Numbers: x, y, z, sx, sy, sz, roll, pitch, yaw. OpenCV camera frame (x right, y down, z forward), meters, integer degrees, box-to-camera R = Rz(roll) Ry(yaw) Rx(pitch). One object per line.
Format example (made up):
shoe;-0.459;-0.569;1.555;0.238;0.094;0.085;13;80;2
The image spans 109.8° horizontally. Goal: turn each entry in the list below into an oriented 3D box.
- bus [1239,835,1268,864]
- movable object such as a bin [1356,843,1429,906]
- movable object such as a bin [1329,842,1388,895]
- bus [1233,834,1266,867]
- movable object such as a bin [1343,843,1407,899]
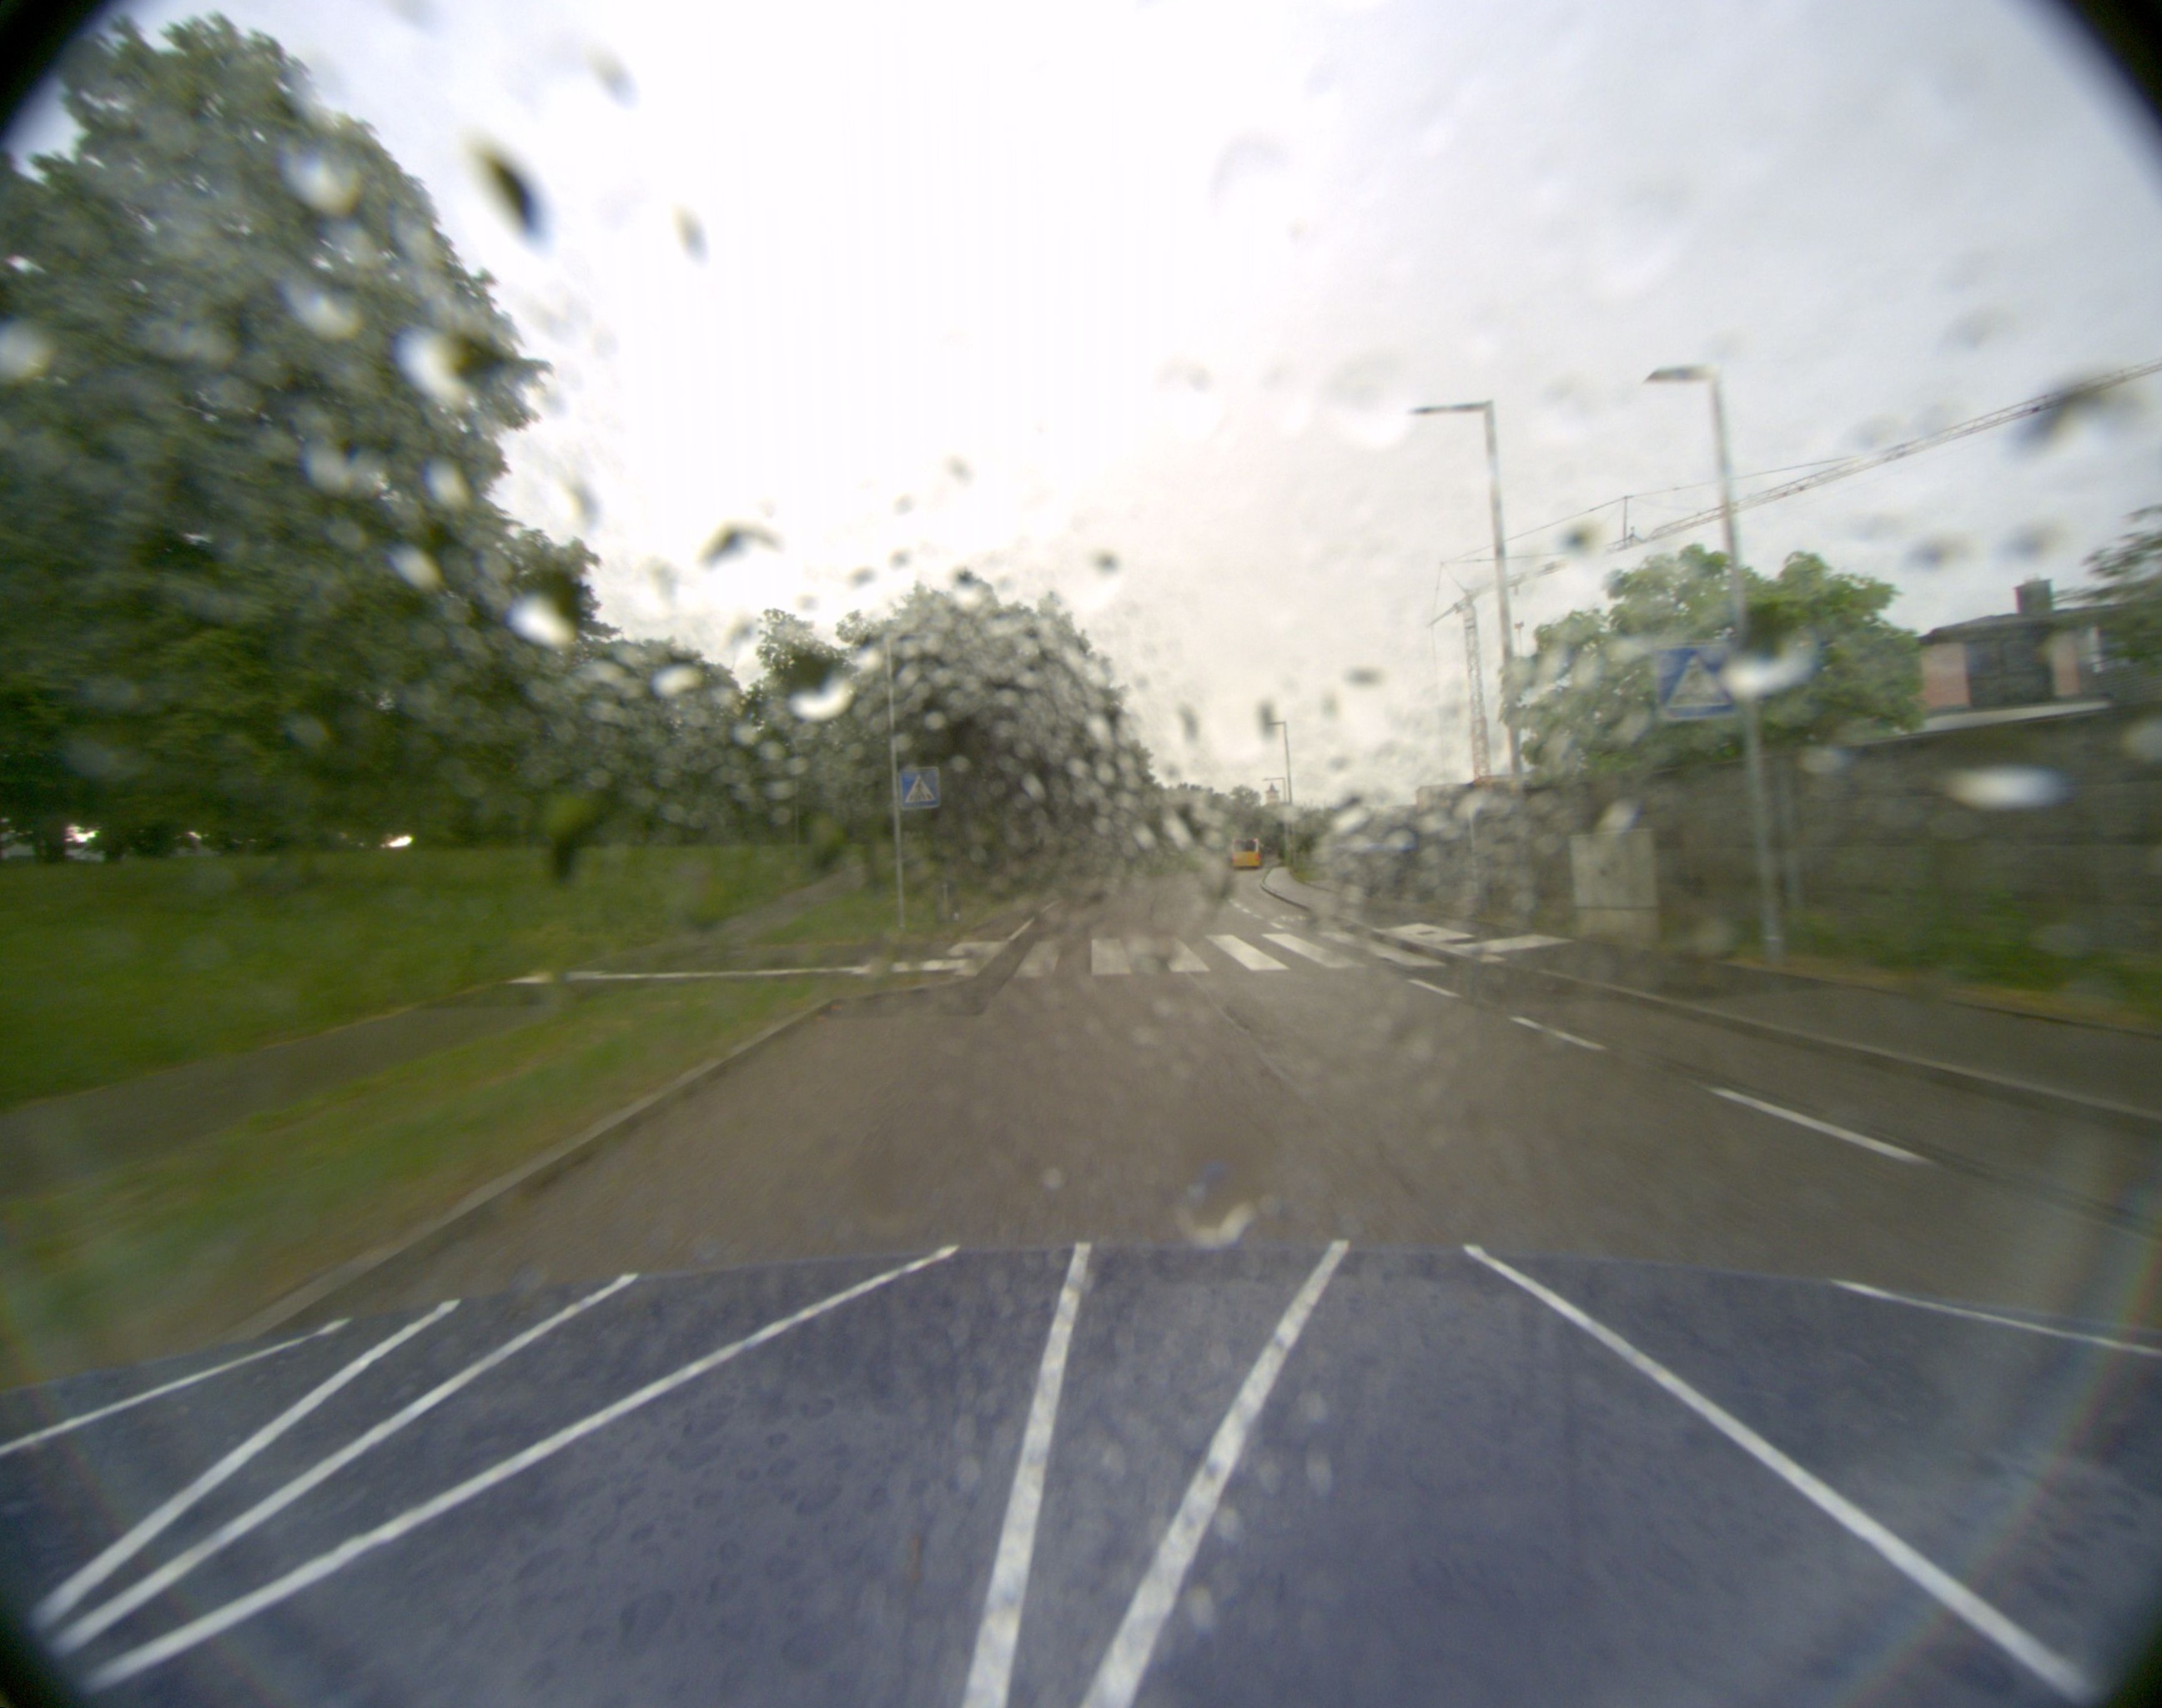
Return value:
bus;19.648;-0.586;86.178;2.643;3.050;10.865;-2;1;15
movable object such as a bin;7.382;0.475;18.090;1.134;1.314;1.363;-7;0;5
movable object such as a bin;7.840;0.397;21.536;1.134;1.331;1.399;-6;0;5
bus;17.164;-0.380;77.221;2.643;3.014;7.674;-3;0;16
movable object such as a bin;7.720;0.435;20.017;1.134;1.294;1.399;-6;0;5
